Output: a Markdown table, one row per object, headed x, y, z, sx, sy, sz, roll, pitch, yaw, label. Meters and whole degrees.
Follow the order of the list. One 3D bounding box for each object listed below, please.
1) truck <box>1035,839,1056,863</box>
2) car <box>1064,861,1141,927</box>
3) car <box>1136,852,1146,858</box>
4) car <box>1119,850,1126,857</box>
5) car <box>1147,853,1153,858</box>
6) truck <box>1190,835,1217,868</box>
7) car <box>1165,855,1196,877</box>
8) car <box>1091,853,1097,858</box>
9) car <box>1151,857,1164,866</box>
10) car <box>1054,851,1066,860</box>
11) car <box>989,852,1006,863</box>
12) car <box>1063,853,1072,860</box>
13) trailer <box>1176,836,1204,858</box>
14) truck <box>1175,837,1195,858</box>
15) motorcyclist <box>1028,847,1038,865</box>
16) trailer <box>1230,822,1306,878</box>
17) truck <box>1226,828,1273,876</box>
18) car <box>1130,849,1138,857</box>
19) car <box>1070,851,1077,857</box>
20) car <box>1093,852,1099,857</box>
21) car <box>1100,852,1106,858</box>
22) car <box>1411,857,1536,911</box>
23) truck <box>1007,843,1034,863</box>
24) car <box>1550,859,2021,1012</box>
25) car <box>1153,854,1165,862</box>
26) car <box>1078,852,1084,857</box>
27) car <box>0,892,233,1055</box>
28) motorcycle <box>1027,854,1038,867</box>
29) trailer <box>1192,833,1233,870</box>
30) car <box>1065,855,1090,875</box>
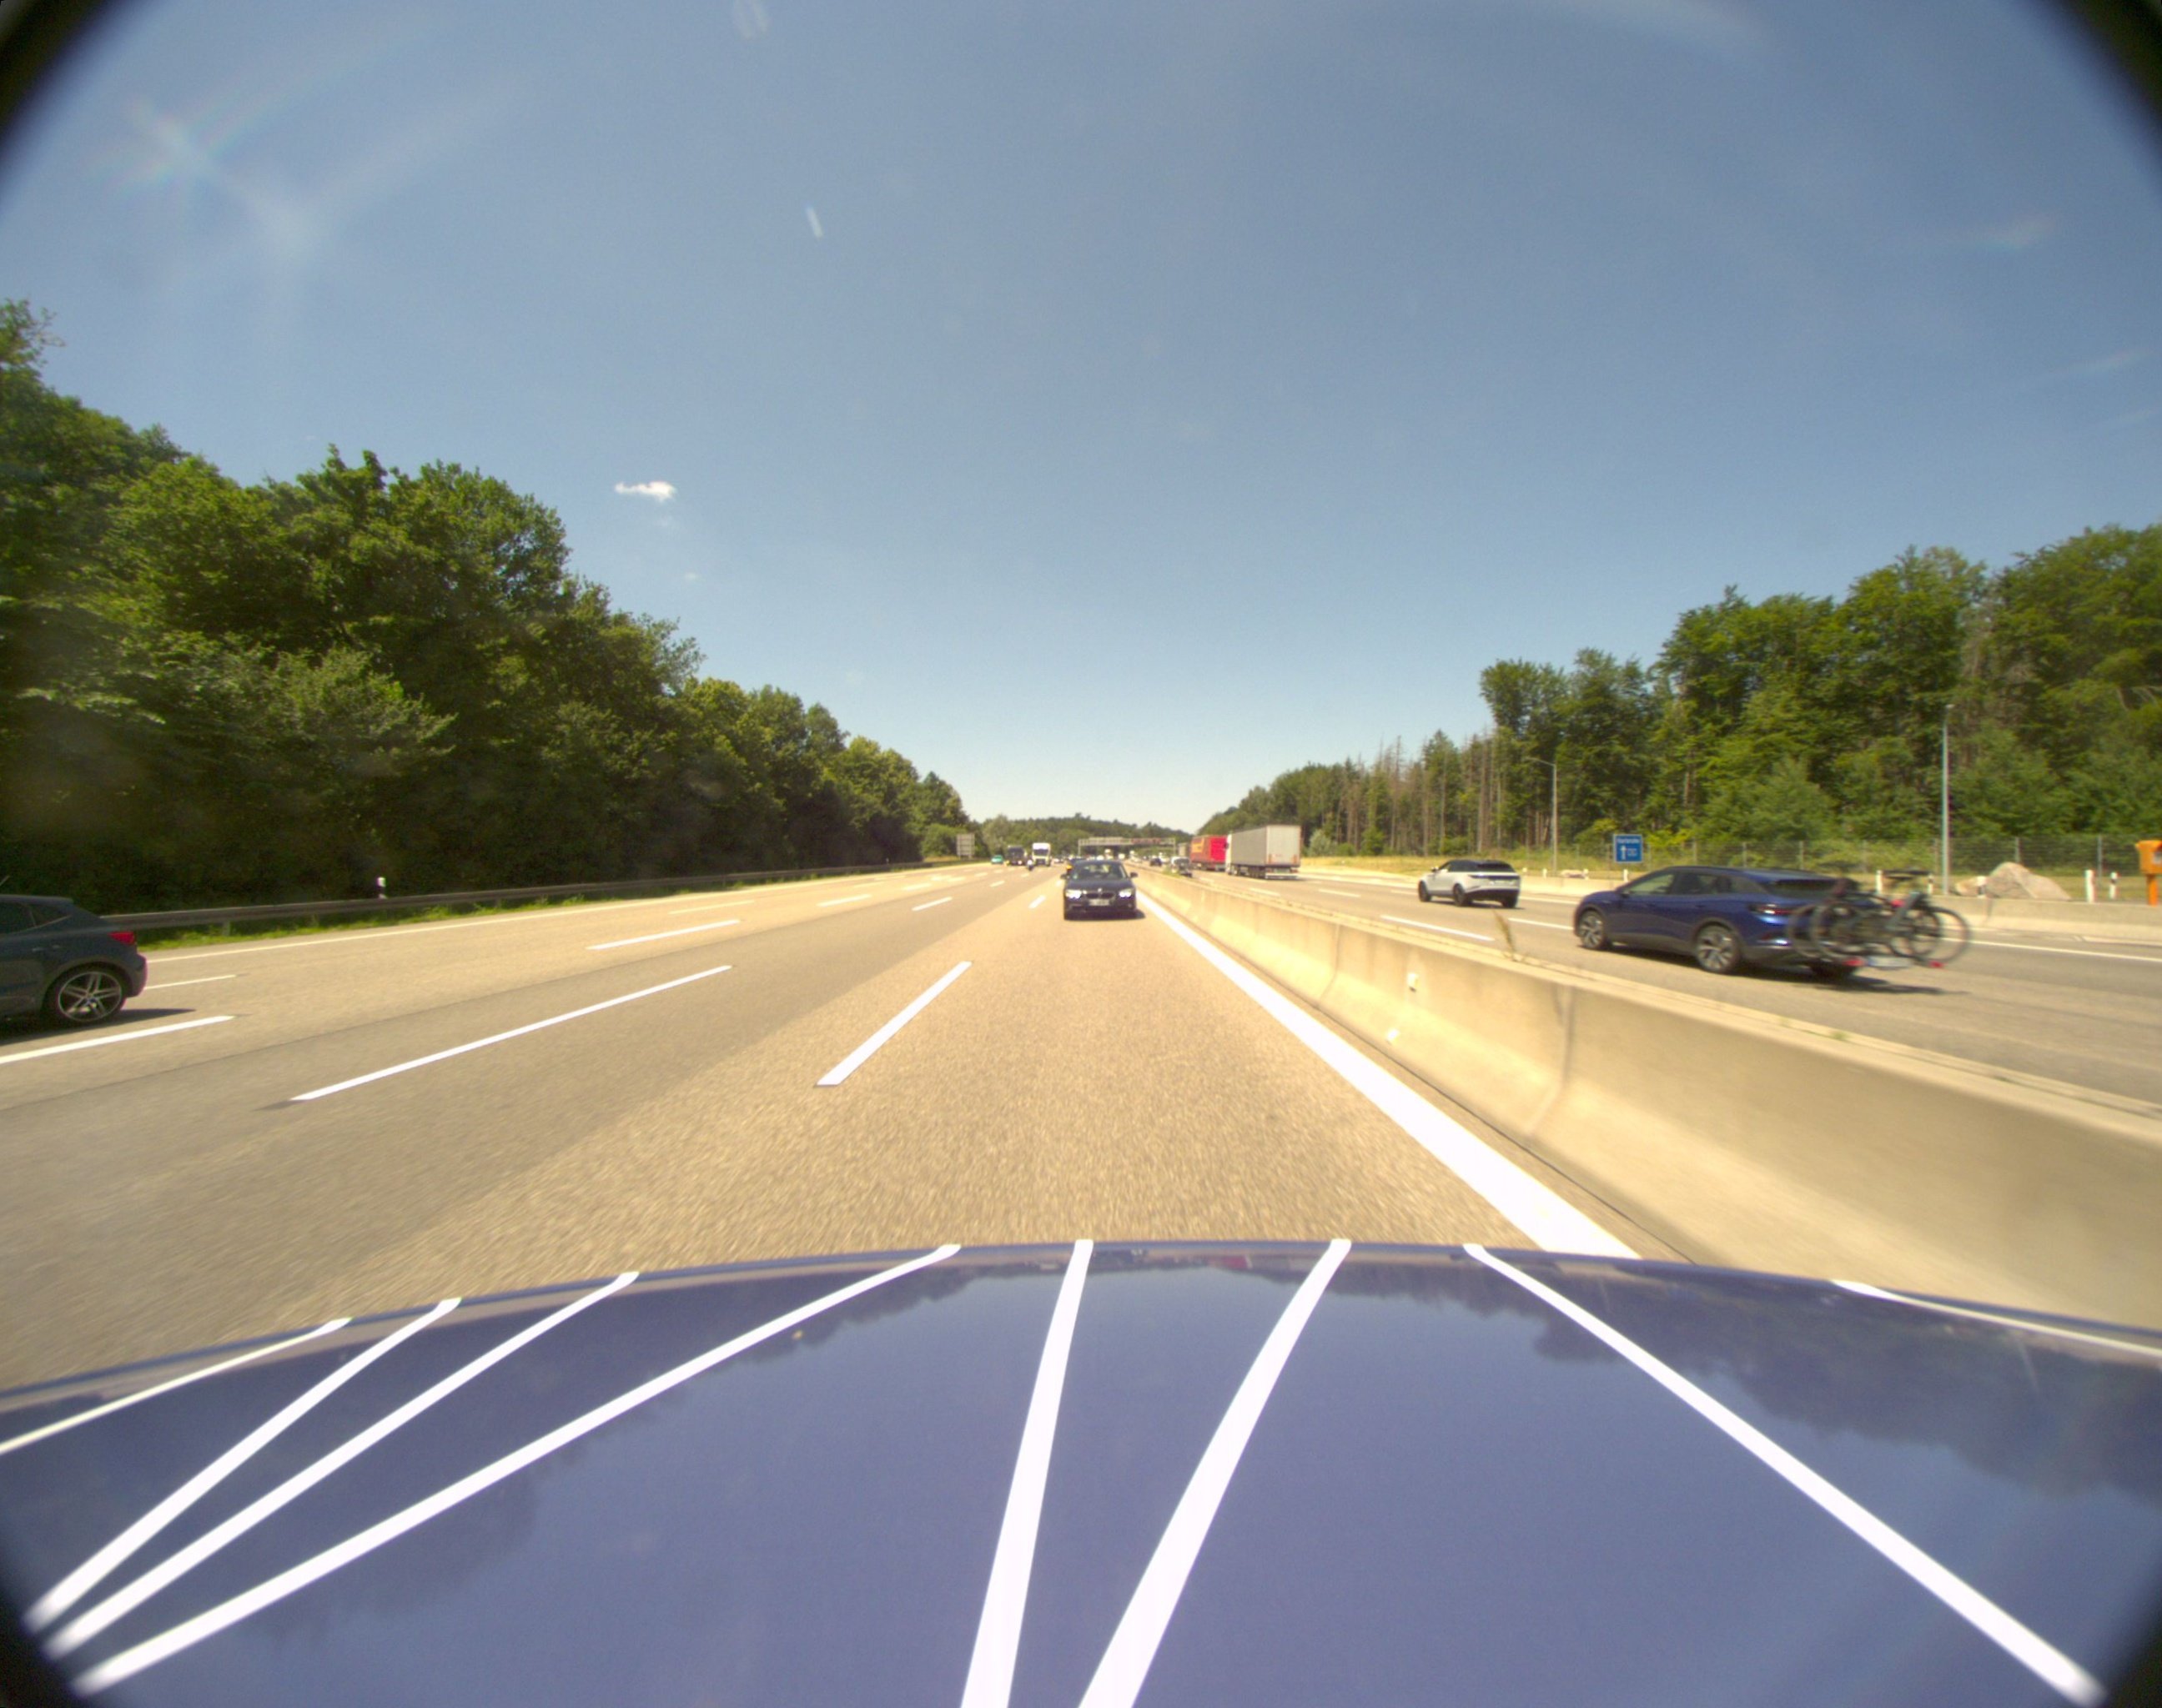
| x | y | z | sx | sy | sz | roll | pitch | yaw | label |
| --- | --- | --- | --- | --- | --- | --- | --- | --- | --- |
| -4.989 | -0.439 | 108.078 | 2.428 | 3.237 | 8.690 | 0 | 0 | 2 | truck |
| 0.570 | 0.943 | 19.732 | 1.741 | 1.450 | 4.543 | -1 | 0 | 2 | car |
| 13.982 | 0.313 | 176.575 | 1.998 | 1.369 | 5.010 | 0 | 0 | 2 | car |
| 13.020 | -0.096 | 236.860 | 2.082 | 2.032 | 5.711 | 0 | 0 | 2 | car |
| 22.522 | 0.571 | 248.415 | 1.734 | 1.561 | 4.673 | 1 | 0 | 2 | car |
| 15.402 | -0.300 | 96.000 | 2.534 | 4.025 | 6.472 | 0 | 0 | 1 | truck |
| 7.714 | 0.887 | 59.106 | 1.788 | 1.633 | 5.463 | 0 | 0 | 1 | car |
| 4.079 | 0.409 | 237.200 | 1.910 | 1.450 | 4.127 | 0 | 0 | 3 | car |
| 12.054 | 1.112 | 119.902 | 1.825 | 1.379 | 4.316 | 0 | 0 | 1 | car |
| -3.989 | 0.298 | 144.178 | 1.998 | 1.670 | 4.127 | 0 | 0 | 3 | car |
| -13.016 | 0.499 | 118.704 | 1.998 | 1.670 | 4.127 | 0 | 0 | 3 | car |
| -3.265 | 0.510 | 187.819 | 1.998 | 1.670 | 4.127 | 0 | 0 | 2 | car |
| 20.375 | -1.305 | 142.618 | 3.350 | 3.978 | 14.278 | 1 | 0 | 1 | trailer |
| 20.417 | -1.290 | 149.806 | 3.296 | 3.908 | 5.539 | 0 | 0 | 1 | truck |
| -4.988 | 0.199 | 78.827 | 0.914 | 1.926 | 0.905 | 0 | 1 | 0 | motorcyclist |
| 14.741 | -0.325 | 61.272 | 2.761 | 3.978 | 14.467 | 0 | 0 | 1 | trailer |
| 14.856 | -0.206 | 67.515 | 2.741 | 4.008 | 6.781 | 0 | 1 | 1 | truck |
| 14.546 | -0.271 | 207.401 | 1.998 | 2.002 | 5.129 | 0 | 0 | 2 | car |
| -1.934 | 0.011 | 200.975 | 1.747 | 1.529 | 4.127 | 0 | 0 | 1 | car |
| 4.943 | 0.226 | 254.606 | 1.910 | 1.450 | 4.127 | 0 | 0 | 3 | car |
| 6.853 | 0.224 | 239.033 | 1.998 | 1.935 | 4.128 | 0 | -1 | 2 | car |
| 14.067 | 0.994 | 27.620 | 1.998 | 1.763 | 5.038 | 0 | 0 | 1 | car |
| -8.895 | -0.224 | 113.351 | 2.660 | 2.839 | 10.886 | 0 | 0 | 3 | truck |
| 10.228 | 0.995 | 12.024 | 1.998 | 1.763 | 5.923 | 0 | 0 | 1 | car |
| 15.684 | 0.755 | 153.558 | 1.998 | 1.660 | 4.612 | 1 | 0 | 1 | car |
| -0.090 | 0.186 | 257.625 | 1.910 | 1.450 | 4.127 | 0 | 0 | 2 | car |
| -11.047 | 1.216 | 6.797 | 1.647 | 1.430 | 4.635 | -2 | 0 | 0 | car |
| -4.981 | 0.680 | 78.736 | 0.925 | 1.310 | 2.998 | 0 | 0 | 1 | motorcycle |
| 15.280 | -0.278 | 89.312 | 2.577 | 4.026 | 14.181 | 0 | 0 | 1 | trailer |
| -0.253 | 0.822 | 59.422 | 1.834 | 1.454 | 4.204 | 0 | 0 | 1 | car |
